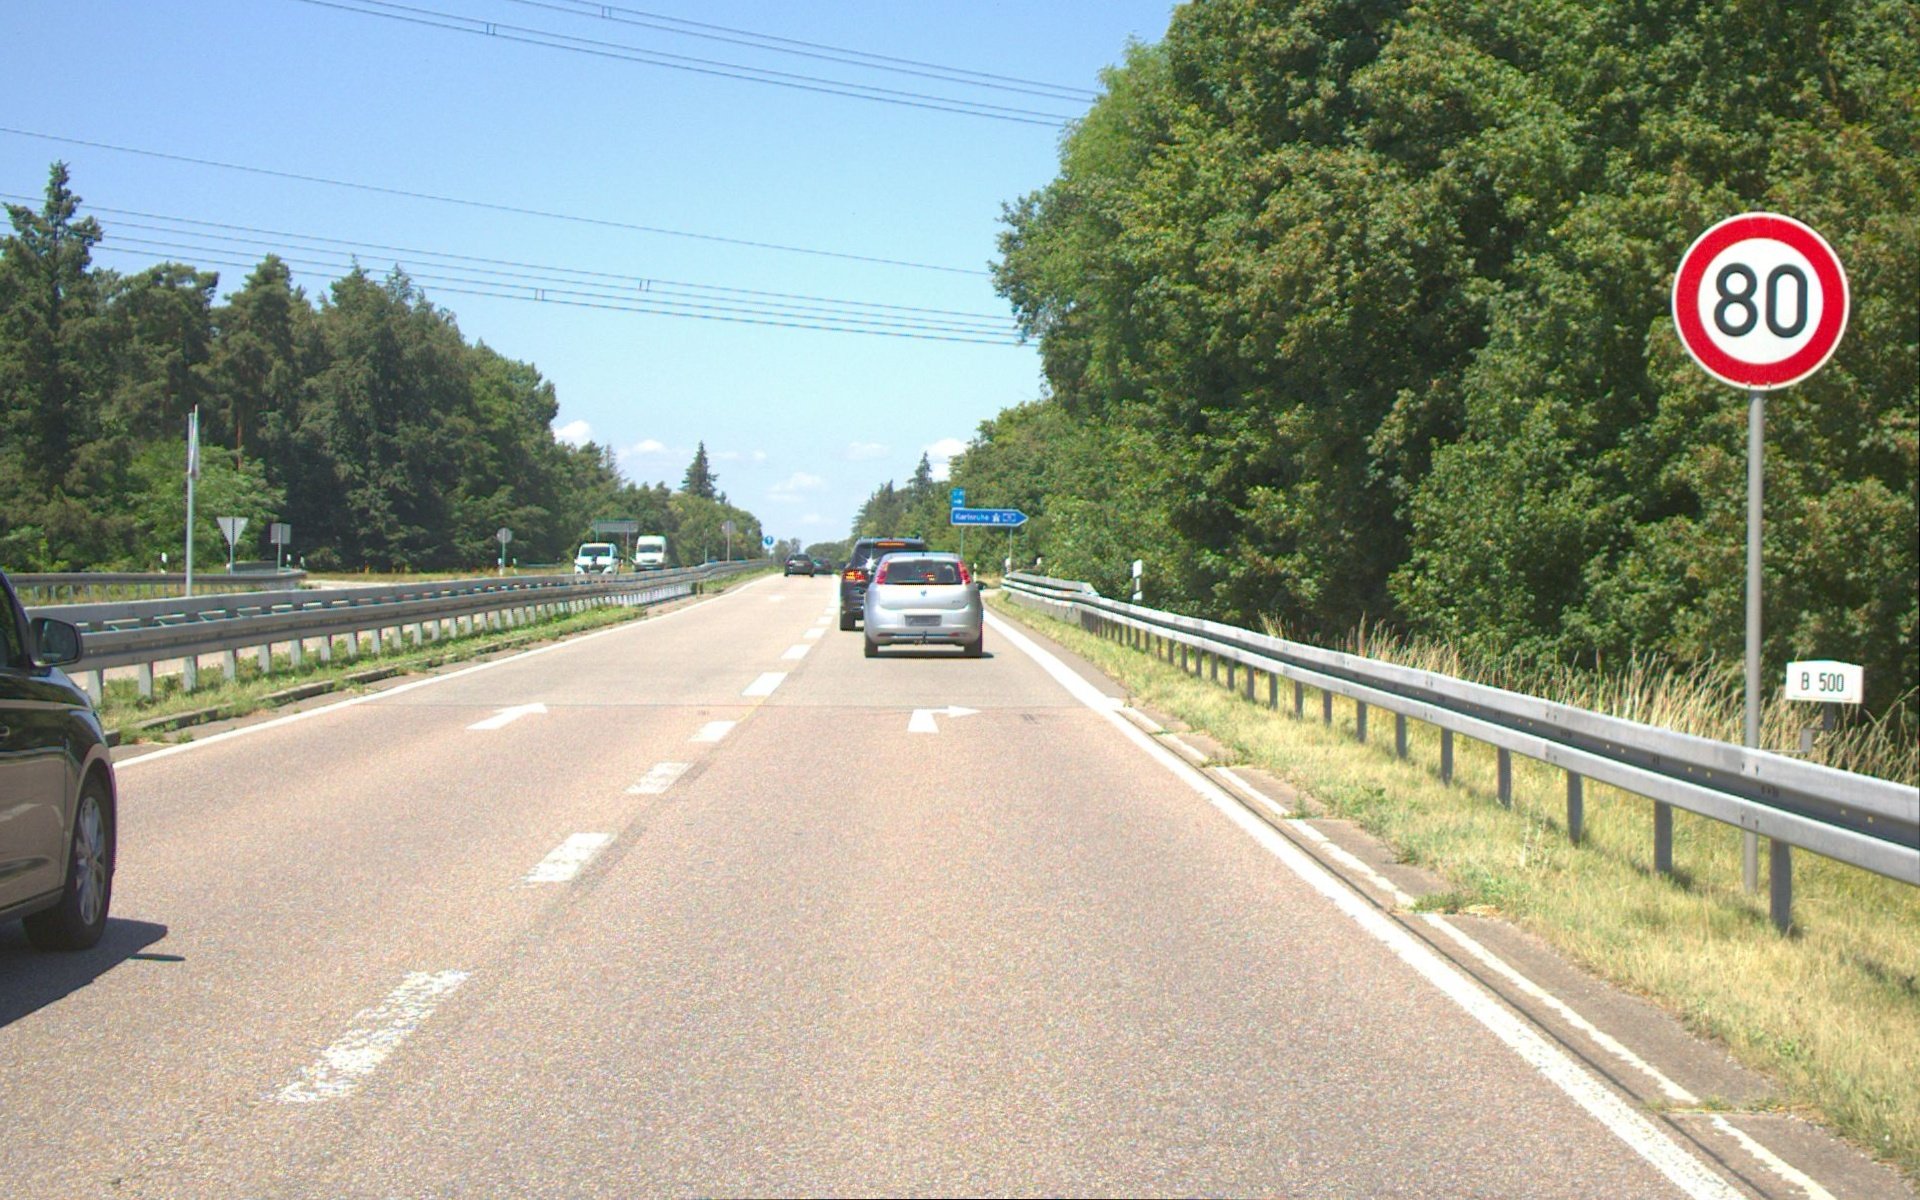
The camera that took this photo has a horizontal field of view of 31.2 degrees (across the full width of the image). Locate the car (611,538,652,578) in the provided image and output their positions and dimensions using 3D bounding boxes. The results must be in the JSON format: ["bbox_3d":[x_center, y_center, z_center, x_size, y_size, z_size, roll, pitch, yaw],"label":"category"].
[{"bbox_3d":[-22.714,-2.906,237.956,2.524,2.609,7.187,-1,1,-3],"label":"car"}]

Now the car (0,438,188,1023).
[{"bbox_3d":[-4.022,0.419,11.261,1.854,1.880,5.574,0,1,-1],"label":"car"}]

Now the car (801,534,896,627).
[{"bbox_3d":[-2.140,-0.384,65.251,1.640,1.648,3.574,2,1,-3],"label":"car"}]

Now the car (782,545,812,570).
[{"bbox_3d":[-9.981,-2.615,210.225,1.712,1.466,3.574,2,1,-2],"label":"car"}]

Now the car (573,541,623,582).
[{"bbox_3d":[-18.222,-1.949,173.293,1.891,1.985,5.533,0,1,0],"label":"car"}]

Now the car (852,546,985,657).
[{"bbox_3d":[-0.629,-0.003,49.060,1.640,1.463,3.419,2,1,-4],"label":"car"}]
